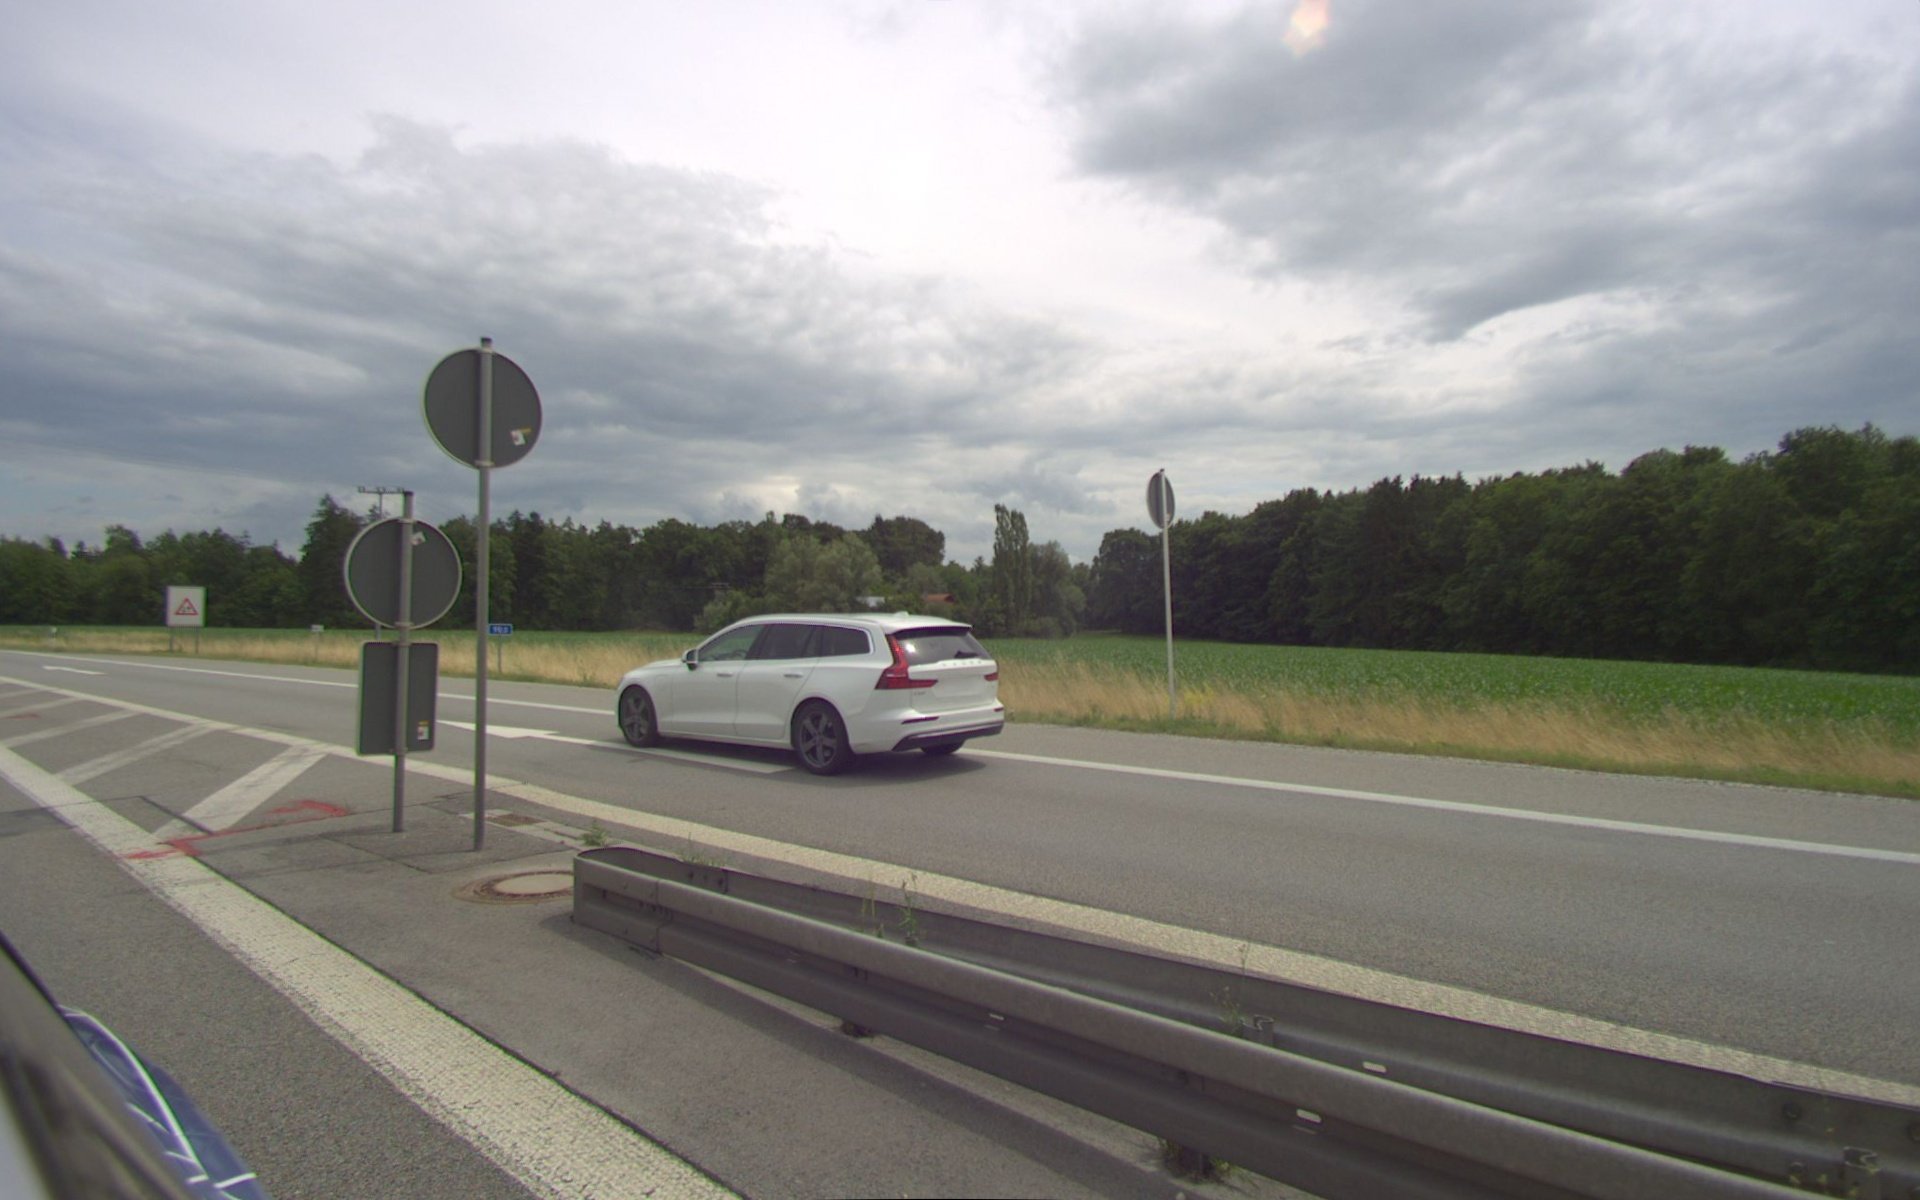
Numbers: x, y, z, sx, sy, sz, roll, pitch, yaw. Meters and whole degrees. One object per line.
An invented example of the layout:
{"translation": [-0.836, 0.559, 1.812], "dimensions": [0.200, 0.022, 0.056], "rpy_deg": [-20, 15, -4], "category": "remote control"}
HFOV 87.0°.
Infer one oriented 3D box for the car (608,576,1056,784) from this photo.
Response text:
{"translation": [-1.452, 0.648, 10.167], "dimensions": [4.597, 1.644, 1.799], "rpy_deg": [-1, 0, 39], "category": "car"}
